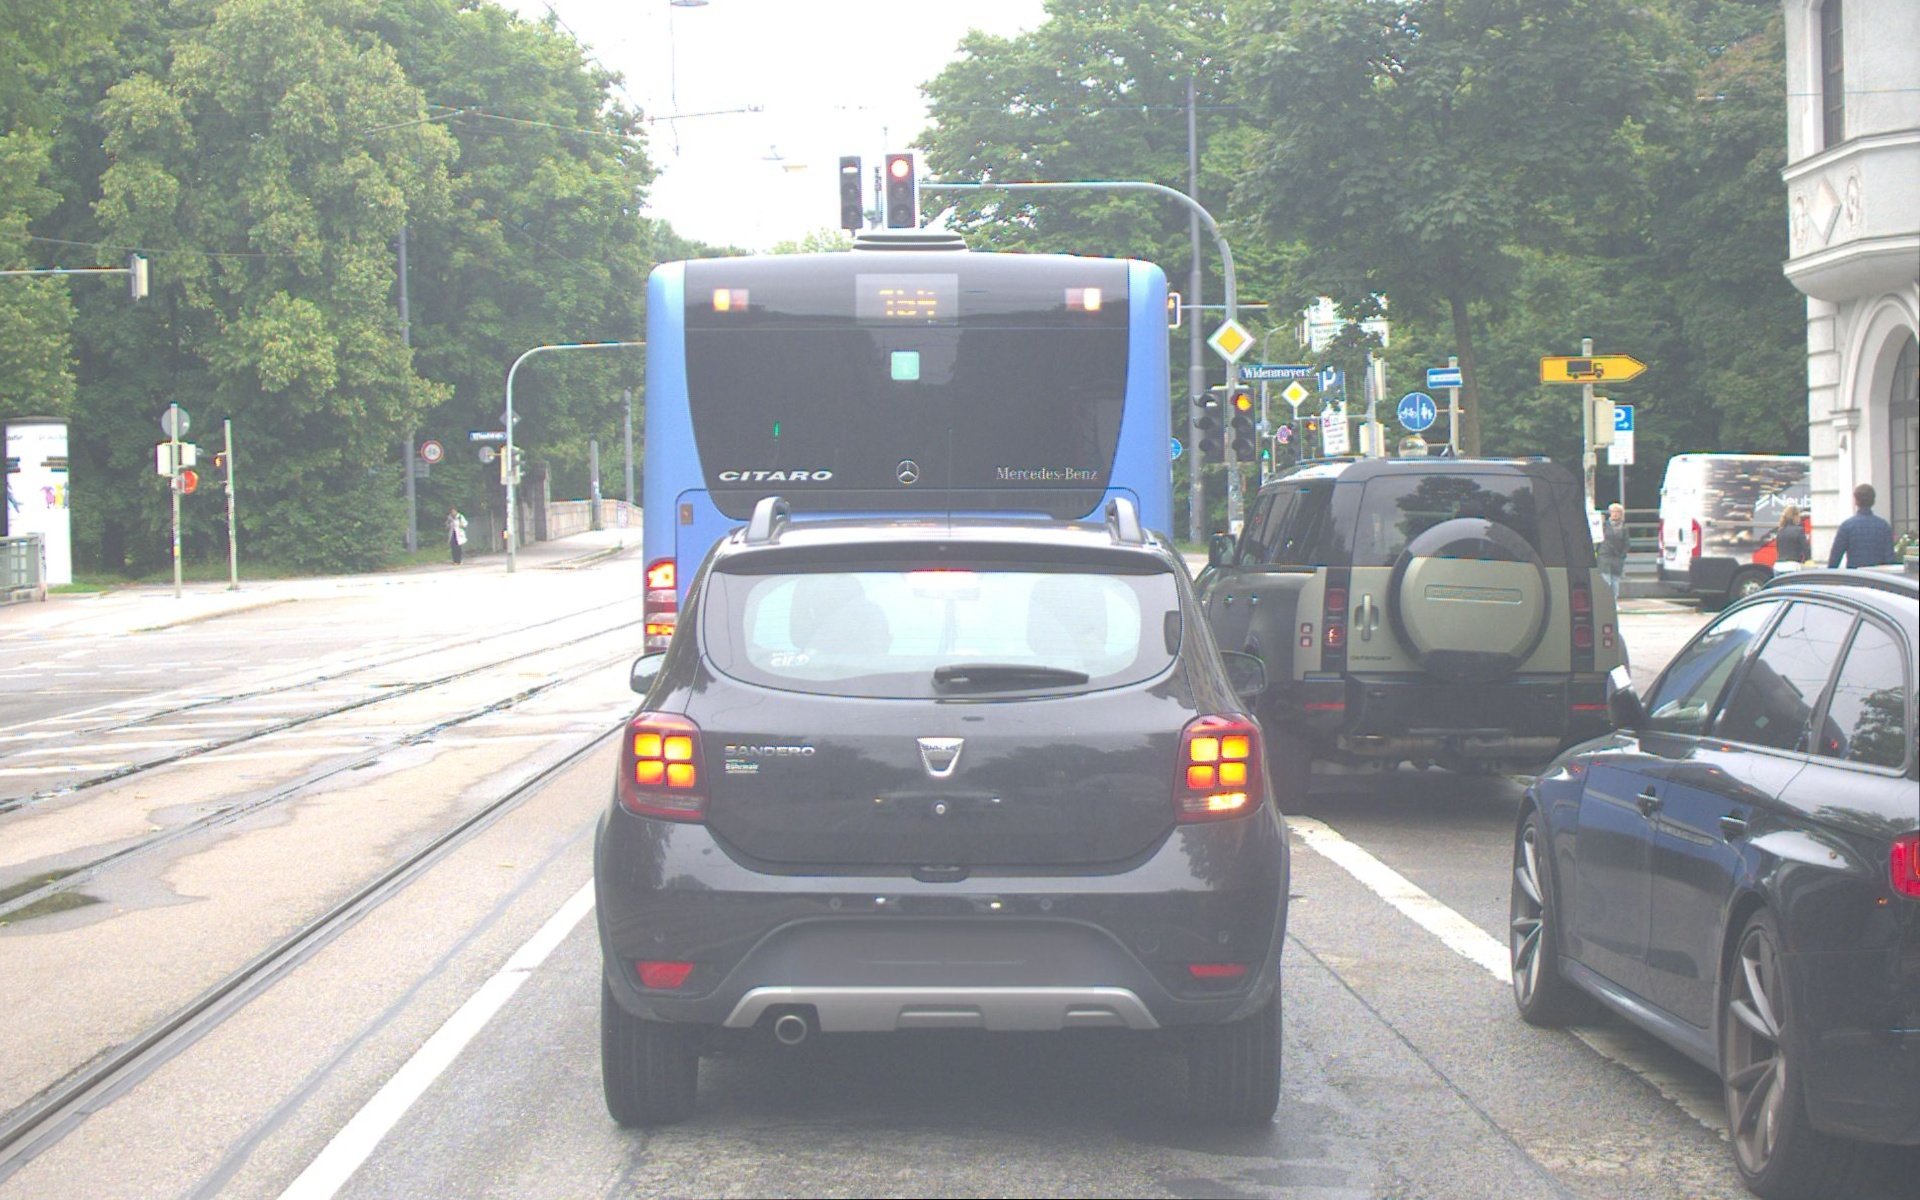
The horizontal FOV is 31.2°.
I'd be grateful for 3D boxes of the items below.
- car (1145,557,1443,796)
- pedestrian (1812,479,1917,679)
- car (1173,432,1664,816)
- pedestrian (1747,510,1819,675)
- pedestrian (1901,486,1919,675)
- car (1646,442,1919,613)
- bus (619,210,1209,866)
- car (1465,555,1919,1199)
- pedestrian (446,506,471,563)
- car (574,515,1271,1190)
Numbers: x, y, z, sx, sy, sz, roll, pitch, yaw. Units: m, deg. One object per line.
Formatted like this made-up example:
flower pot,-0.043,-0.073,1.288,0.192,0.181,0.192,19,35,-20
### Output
car,2.378,0.492,25.415,1.714,1.586,4.327,1,1,-1
pedestrian,8.325,-0.194,31.673,0.705,1.810,0.870,1,1,-1
car,2.448,0.084,19.636,1.914,1.899,4.808,1,1,-3
pedestrian,10.145,-0.096,42.376,0.674,2.007,0.715,1,1,29
pedestrian,9.112,-0.173,31.514,0.705,1.726,0.843,1,1,-1
car,13.799,-1.130,54.497,5.295,2.603,2.231,1,1,-3
bus,-0.359,-0.335,19.332,2.678,2.987,6.962,1,1,-2
car,2.577,0.609,9.030,1.716,1.421,4.602,1,1,-1
pedestrian,-13.428,-1.749,92.058,0.532,1.496,0.588,1,1,4
car,-0.123,0.563,9.764,1.600,1.551,3.525,1,1,-1
